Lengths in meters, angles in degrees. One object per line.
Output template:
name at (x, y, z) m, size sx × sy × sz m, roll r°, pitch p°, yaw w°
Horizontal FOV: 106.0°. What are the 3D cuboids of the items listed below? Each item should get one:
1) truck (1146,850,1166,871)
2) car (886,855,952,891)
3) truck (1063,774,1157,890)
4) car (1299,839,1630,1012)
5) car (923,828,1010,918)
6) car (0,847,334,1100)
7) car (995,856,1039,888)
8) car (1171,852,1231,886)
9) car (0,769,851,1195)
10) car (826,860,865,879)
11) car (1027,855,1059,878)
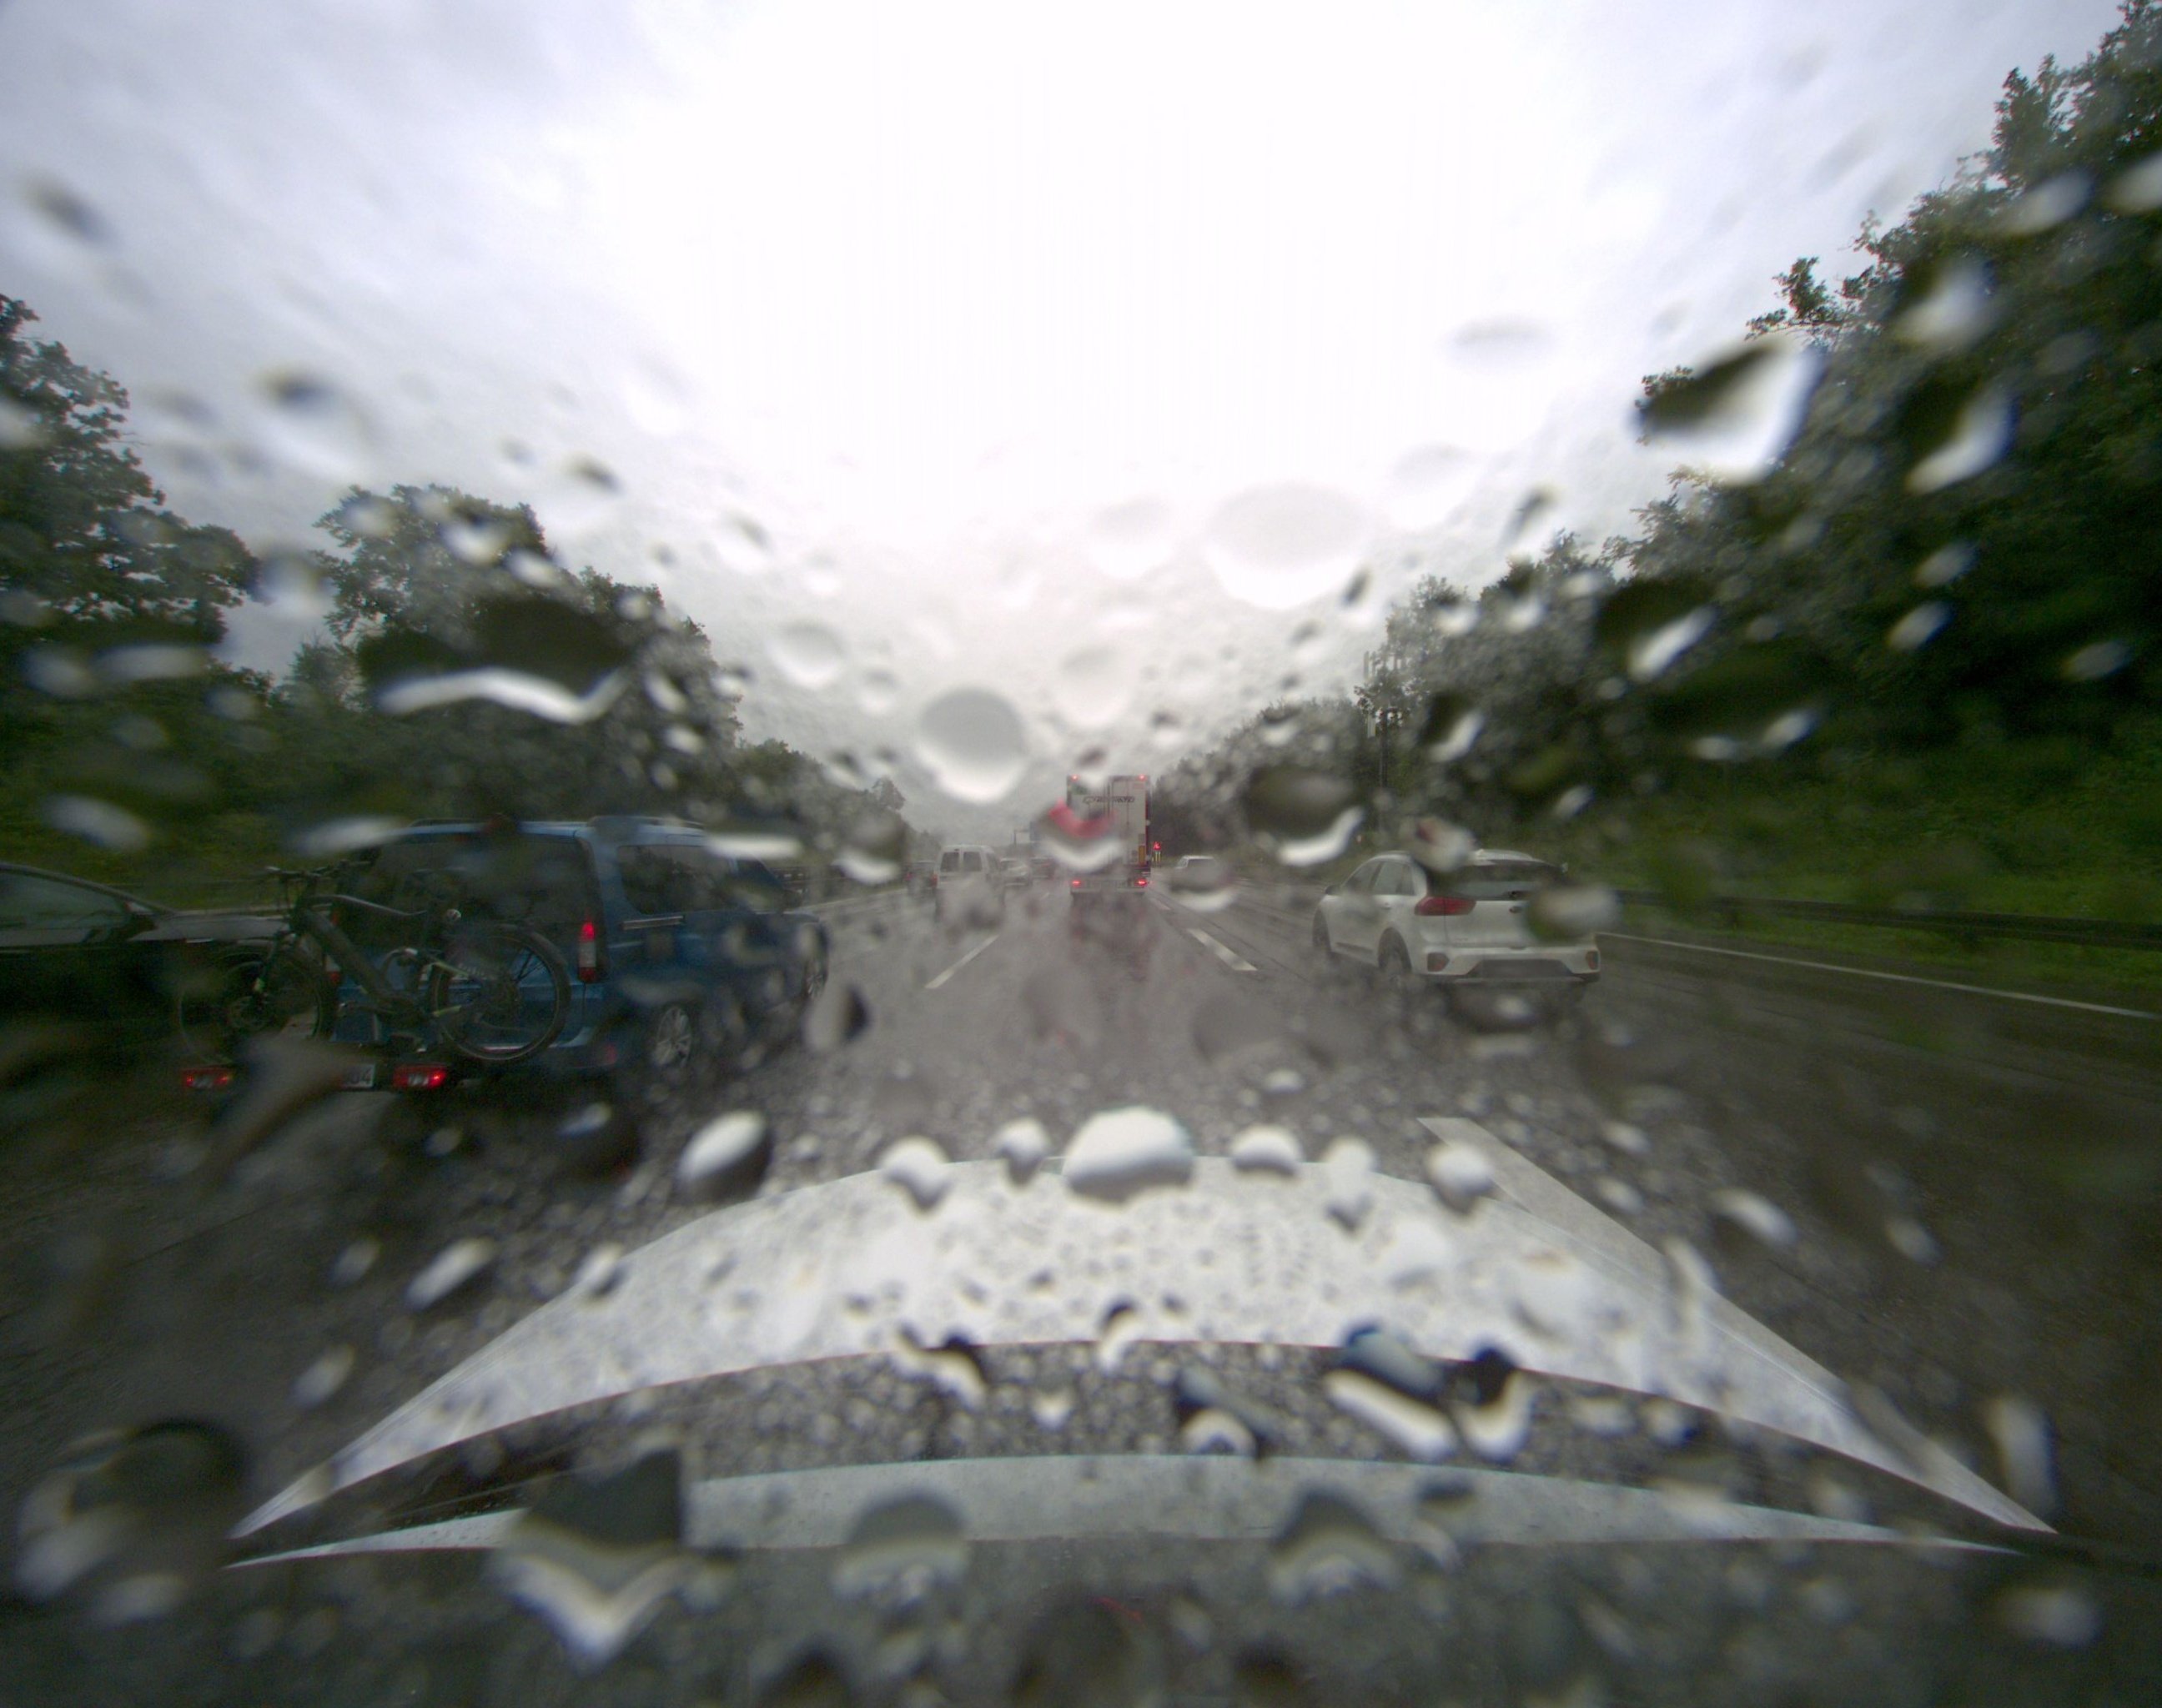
truck at (10.865, 0.925, 118.598) m, size 2.579 × 2.941 × 6.459 m, roll 0°, pitch 0°, yaw 2°
car at (-7.425, 0.844, 37.793) m, size 2.084 × 1.504 × 4.753 m, roll -1°, pitch 0°, yaw 0°
truck at (1.008, -0.628, 30.704) m, size 2.862 × 3.562 × 11.303 m, roll 0°, pitch -1°, yaw 1°
car at (3.985, 0.631, 9.398) m, size 1.839 × 1.522 × 4.344 m, roll 0°, pitch 0°, yaw 1°
car at (-3.542, 0.541, 26.098) m, size 2.207 × 2.573 × 5.012 m, roll 0°, pitch 0°, yaw -2°
car at (-7.726, 0.758, 5.111) m, size 1.838 × 1.591 × 4.469 m, roll 0°, pitch 0°, yaw 2°
car at (-3.305, 0.897, 42.560) m, size 1.838 × 1.591 × 4.074 m, roll 0°, pitch 0°, yaw 2°
car at (5.132, 0.617, 35.468) m, size 2.000 × 1.394 × 4.568 m, roll 0°, pitch 0°, yaw 1°
car at (-3.708, 0.577, 6.205) m, size 2.260 × 1.912 × 5.019 m, roll 0°, pitch 0°, yaw 3°
car at (-17.799, 1.140, 61.746) m, size 1.795 × 1.345 × 3.677 m, roll -1°, pitch 0°, yaw 1°
car at (-2.672, 0.850, 58.138) m, size 1.838 × 1.591 × 4.469 m, roll 0°, pitch 0°, yaw 2°
